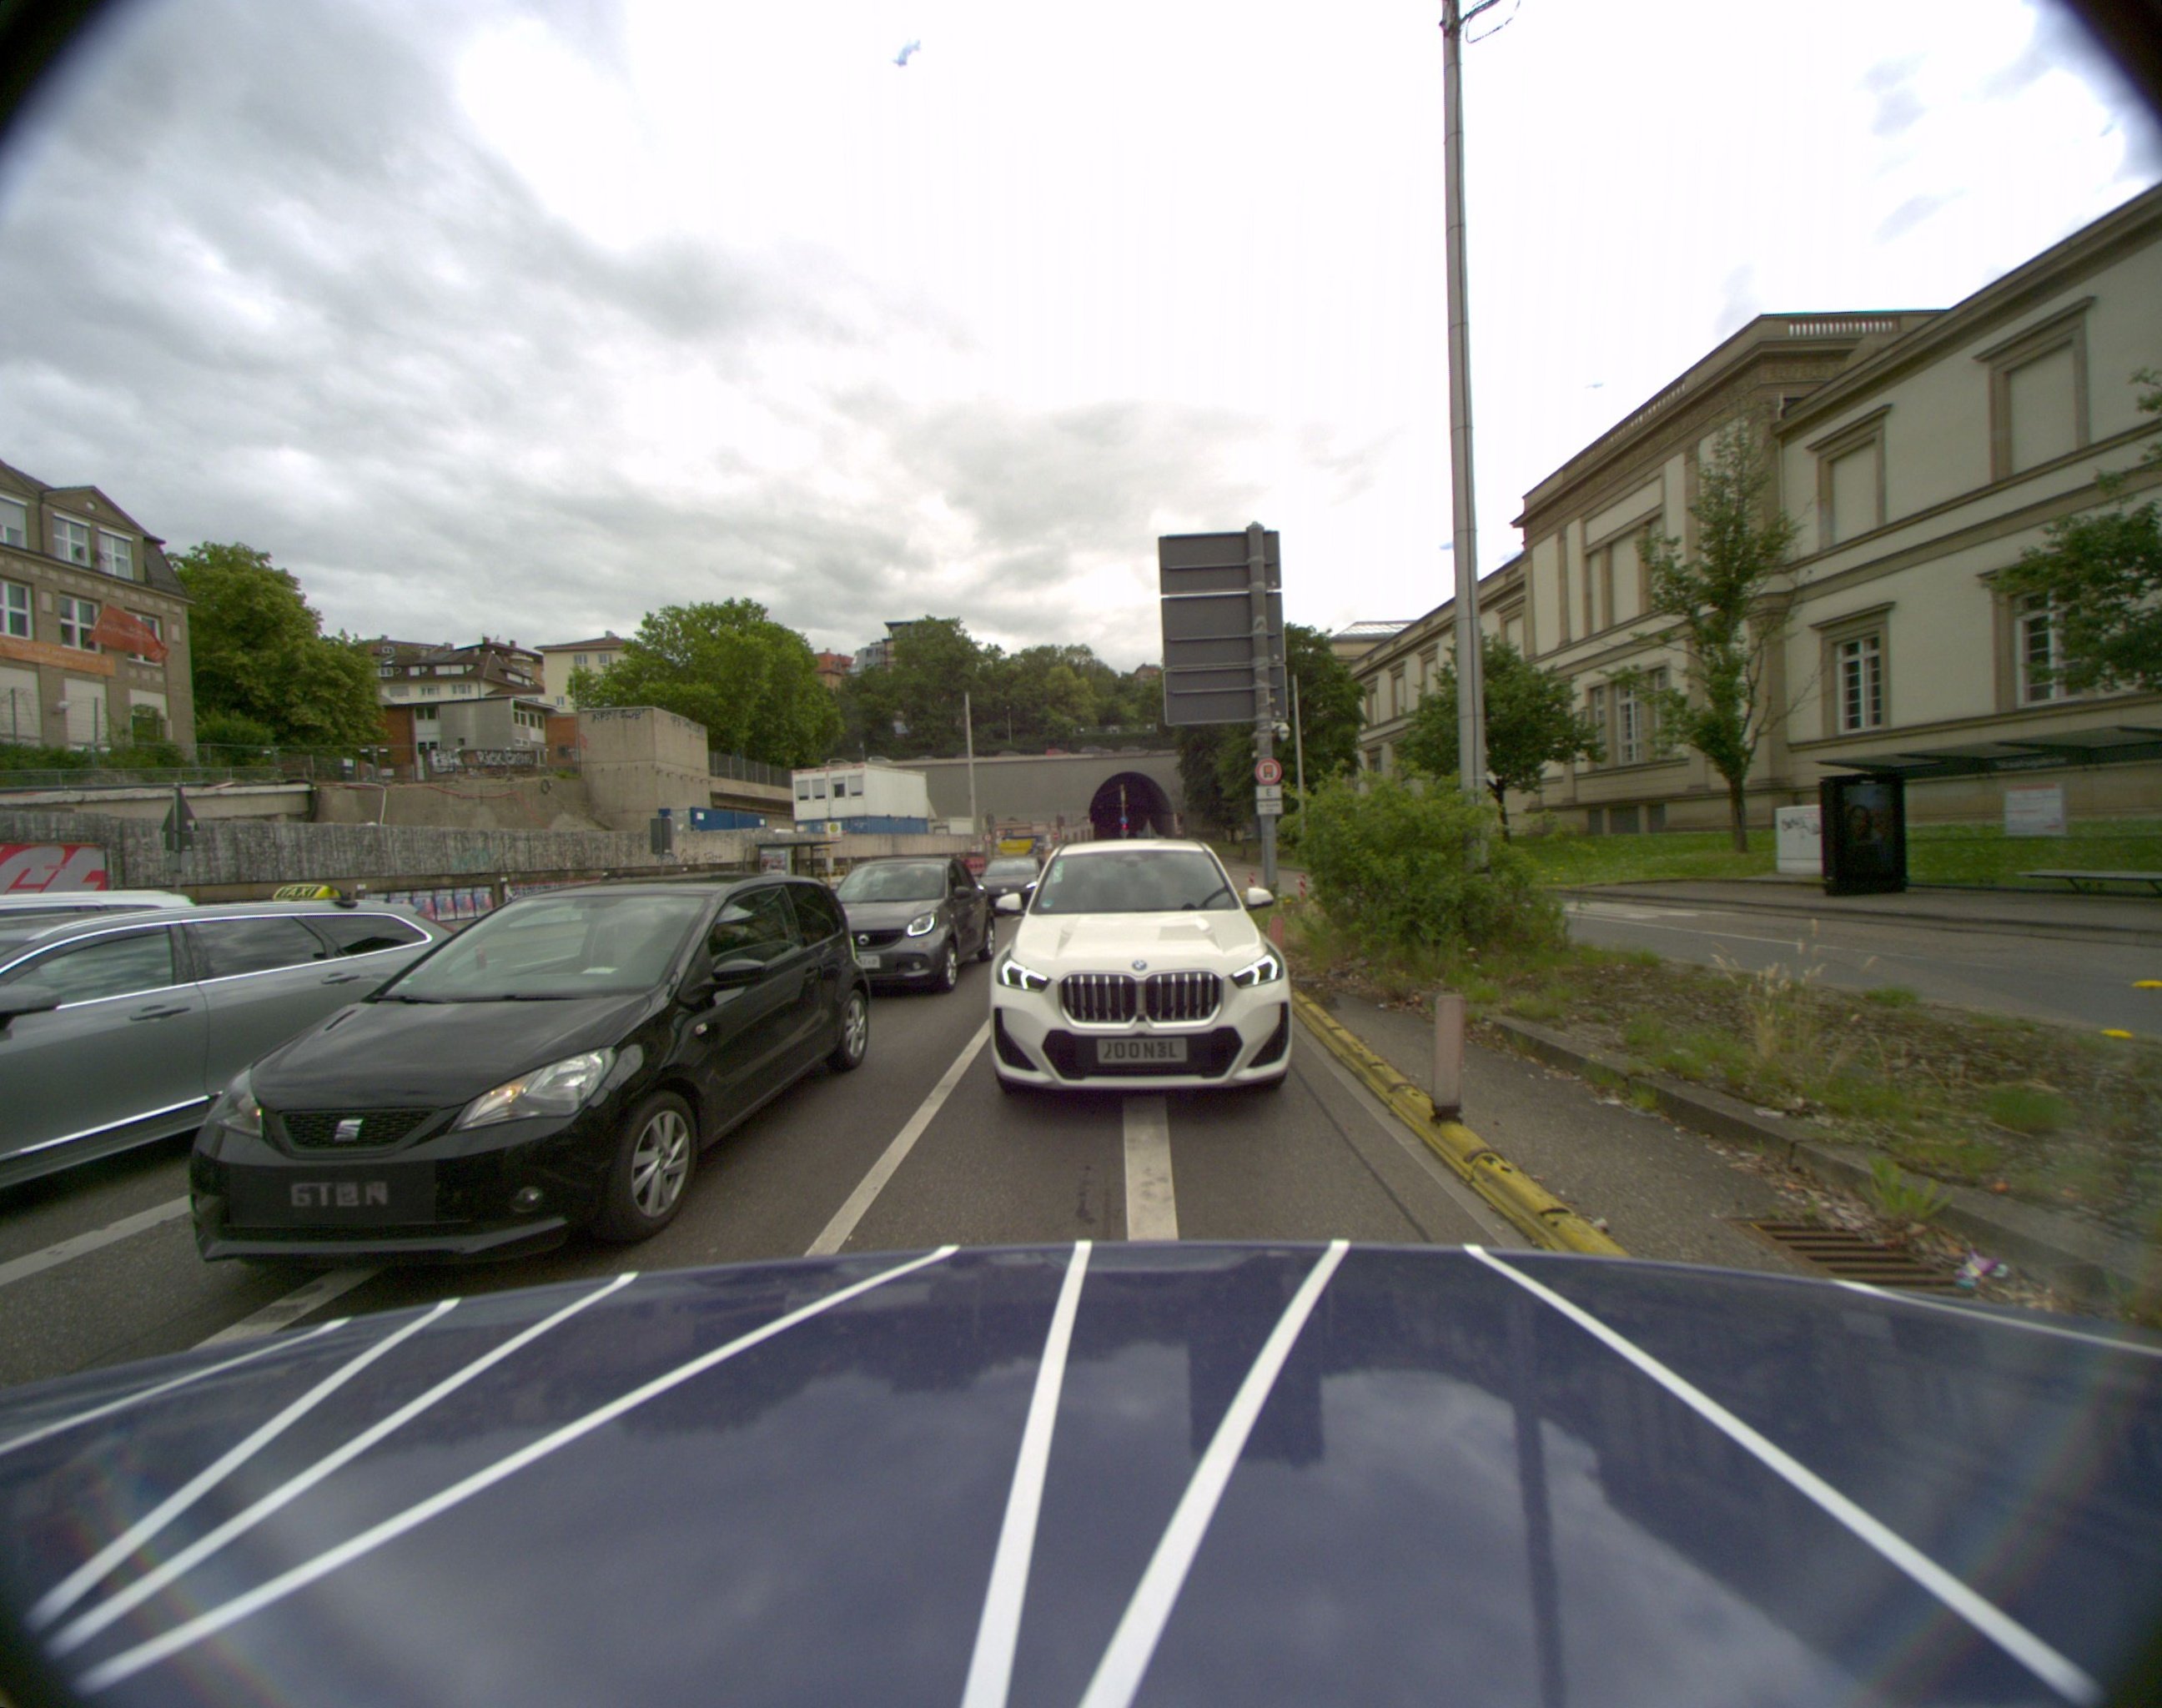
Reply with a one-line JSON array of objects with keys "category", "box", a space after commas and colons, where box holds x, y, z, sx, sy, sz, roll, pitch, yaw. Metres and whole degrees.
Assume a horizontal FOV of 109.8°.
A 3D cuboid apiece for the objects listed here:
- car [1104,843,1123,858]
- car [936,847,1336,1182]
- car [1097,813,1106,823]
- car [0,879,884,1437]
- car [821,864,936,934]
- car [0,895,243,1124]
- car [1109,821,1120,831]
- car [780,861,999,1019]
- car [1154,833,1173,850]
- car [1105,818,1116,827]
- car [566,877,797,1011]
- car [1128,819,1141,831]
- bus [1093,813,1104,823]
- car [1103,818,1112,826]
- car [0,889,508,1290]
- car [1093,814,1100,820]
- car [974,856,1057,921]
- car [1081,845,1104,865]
[{"category": "car", "box": [3.110, -0.378, 73.870, 1.680, 1.358, 3.806, -2, 1, 1]}, {"category": "car", "box": [0.314, 0.813, 5.722, 1.987, 1.616, 3.670, -2, 1, 1]}, {"category": "car", "box": [5.269, -9.435, 198.742, 2.203, 2.493, 4.758, -2, 1, 3]}, {"category": "car", "box": [-2.525, 0.992, 4.140, 1.829, 1.450, 3.700, -2, 1, 1]}, {"category": "car", "box": [-4.814, 1.025, 18.618, 1.680, 1.358, 3.806, -2, 1, 1]}, {"category": "car", "box": [-9.056, 1.279, 5.270, 1.680, 1.616, 4.209, -2, 1, 1]}, {"category": "car", "box": [6.149, -5.161, 140.838, 1.903, 1.615, 4.107, -2, 0, 0]}, {"category": "car", "box": [-2.185, 0.912, 9.686, 1.720, 1.535, 3.575, -2, 0, 2]}, {"category": "car", "box": [9.124, -1.425, 84.198, 1.836, 1.736, 4.000, -2, 1, 4]}, {"category": "car", "box": [6.102, -6.587, 156.962, 1.903, 1.615, 4.107, -2, 0, 0]}, {"category": "car", "box": [-5.345, 1.135, 10.556, 1.665, 1.423, 2.713, -2, 1, 1]}, {"category": "car", "box": [8.374, -4.503, 118.673, 1.902, 1.615, 4.109, -2, 0, 7]}, {"category": "bus", "box": [5.710, -12.032, 253.411, 3.171, 3.130, 9.118, -2, 1, -1]}, {"category": "car", "box": [6.177, -7.413, 175.665, 1.778, 1.609, 3.802, -2, 1, 0]}, {"category": "car", "box": [-5.812, 1.182, 3.991, 1.829, 1.616, 4.808, -2, 1, 1]}, {"category": "car", "box": [4.667, -10.973, 226.128, 1.946, 1.714, 4.000, -2, 1, 4]}, {"category": "car", "box": [-1.677, 0.868, 20.587, 1.680, 1.450, 3.807, -2, 1, 3]}, {"category": "car", "box": [0.909, 0.048, 58.311, 1.680, 1.358, 3.806, -2, 1, 1]}]
